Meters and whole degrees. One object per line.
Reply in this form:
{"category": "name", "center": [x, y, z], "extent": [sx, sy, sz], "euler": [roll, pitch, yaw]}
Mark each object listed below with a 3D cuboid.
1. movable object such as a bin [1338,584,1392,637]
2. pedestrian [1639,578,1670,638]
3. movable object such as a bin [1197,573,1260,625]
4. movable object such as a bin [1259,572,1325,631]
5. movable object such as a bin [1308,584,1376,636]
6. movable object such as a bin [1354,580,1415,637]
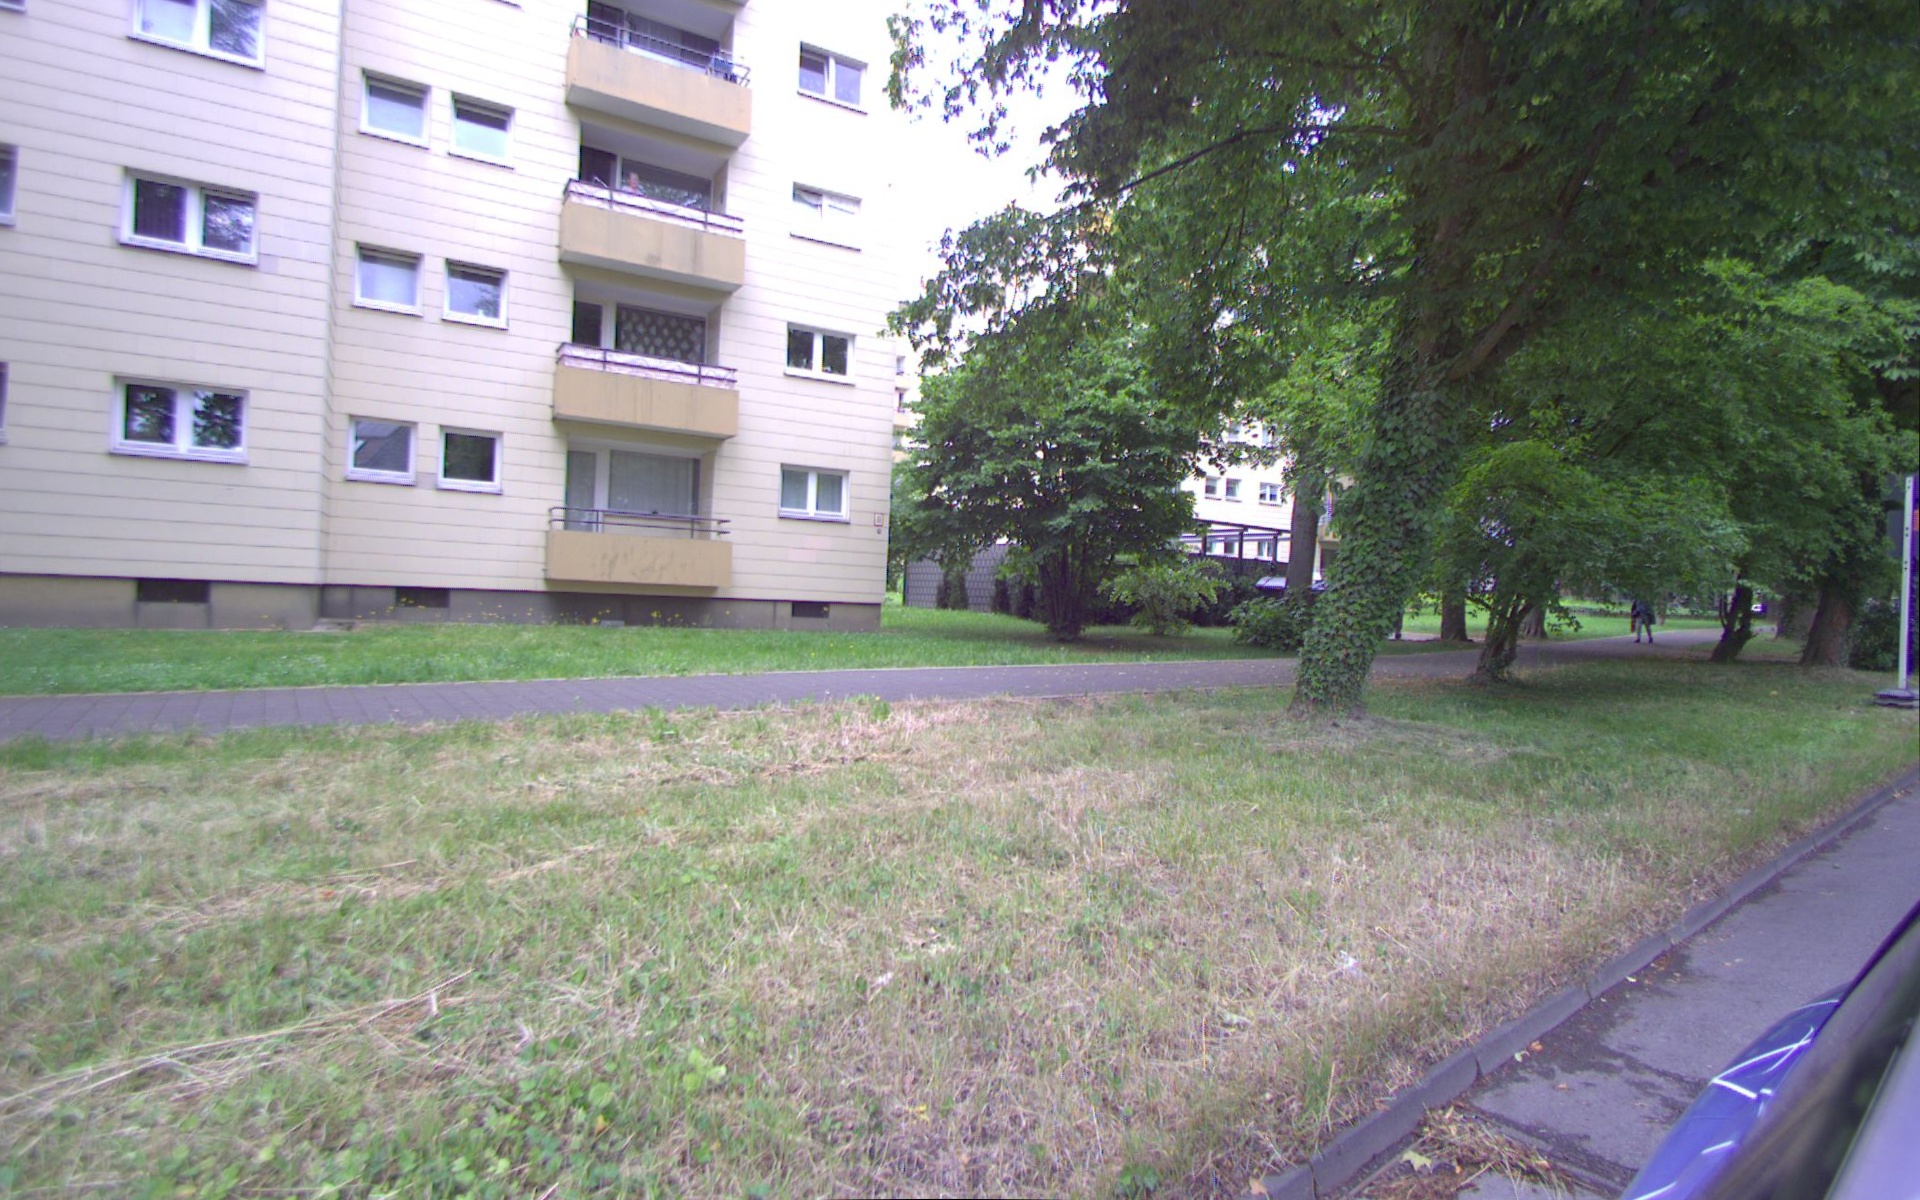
{"category": "movable object such as a bin", "center": [10.553, 0.268, 26.358], "extent": [1.022, 1.320, 0.946], "euler": [3, 2, 41]}
{"category": "pedestrian", "center": [20.994, 0.230, 30.607], "extent": [0.560, 1.761, 0.565], "euler": [1, 2, -41]}
{"category": "movable object such as a bin", "center": [7.414, -0.029, 27.928], "extent": [1.190, 1.358, 1.328], "euler": [3, 2, 41]}
{"category": "movable object such as a bin", "center": [8.676, 0.030, 26.456], "extent": [1.190, 1.475, 1.328], "euler": [3, 2, 41]}
{"category": "movable object such as a bin", "center": [9.666, 0.247, 25.584], "extent": [1.190, 1.236, 1.328], "euler": [3, 2, 41]}
{"category": "movable object such as a bin", "center": [11.354, 0.209, 27.076], "extent": [1.190, 1.431, 1.094], "euler": [3, 2, 41]}
